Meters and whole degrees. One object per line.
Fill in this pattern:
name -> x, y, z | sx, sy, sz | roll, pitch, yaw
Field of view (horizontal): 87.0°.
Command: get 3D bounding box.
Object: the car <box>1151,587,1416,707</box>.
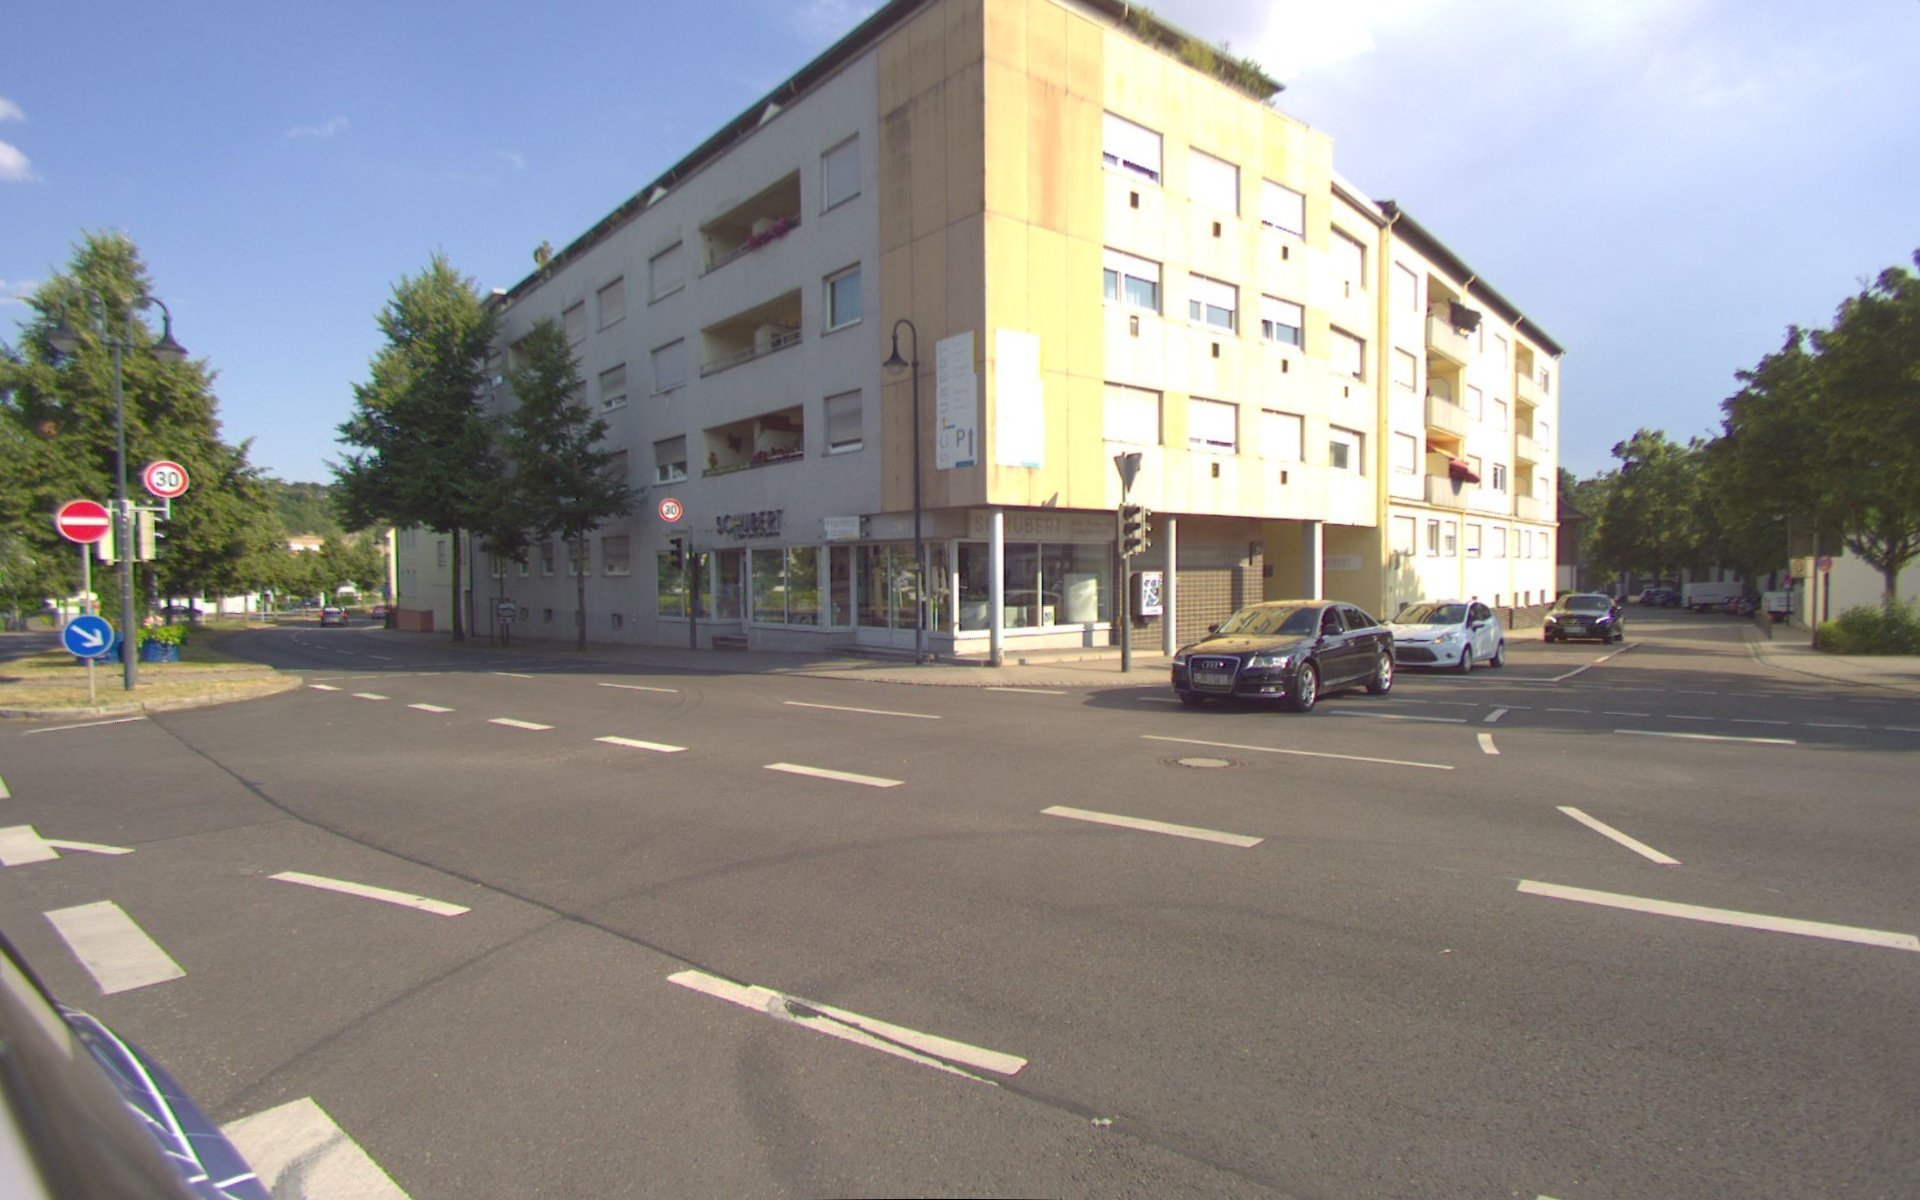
car -> 4.821, 0.570, 14.609 | 1.916, 1.447, 4.808 | 0, 0, 41

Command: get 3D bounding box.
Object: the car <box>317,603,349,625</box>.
car -> -51.143, 1.087, 82.648 | 1.826, 1.749, 4.938 | 0, 0, -27

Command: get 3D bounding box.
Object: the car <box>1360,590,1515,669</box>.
car -> 9.760, 0.552, 20.555 | 1.867, 1.447, 3.772 | 0, 0, 42

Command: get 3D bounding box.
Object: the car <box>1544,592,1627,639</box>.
car -> 20.351, 0.478, 32.876 | 1.747, 1.447, 3.543 | 0, 0, 41
